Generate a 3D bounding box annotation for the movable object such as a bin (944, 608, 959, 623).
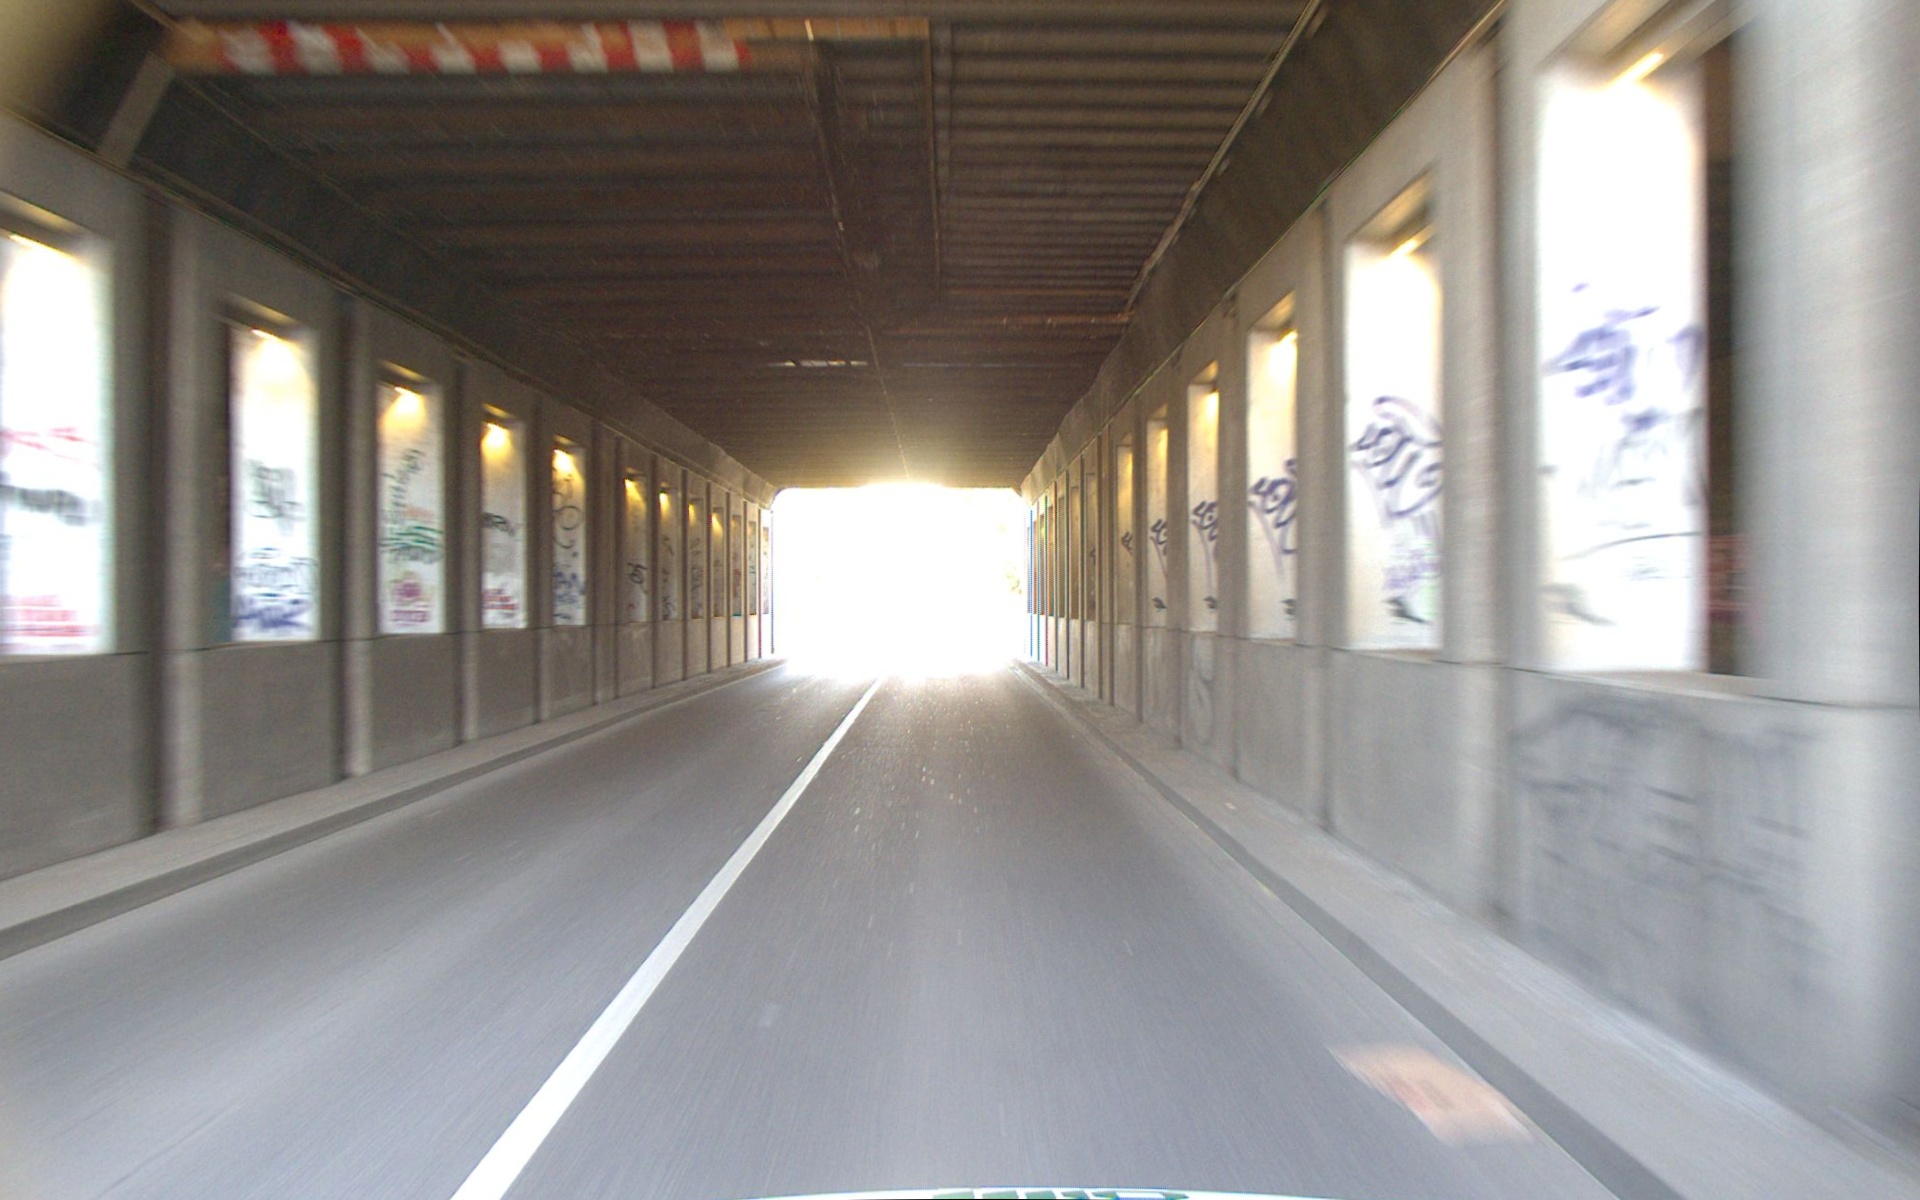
[{"bbox_3d":[-0.884,1.614,171.893,1.339,1.443,1.063,2,-1,-8],"label":"movable object such as a bin"}]
